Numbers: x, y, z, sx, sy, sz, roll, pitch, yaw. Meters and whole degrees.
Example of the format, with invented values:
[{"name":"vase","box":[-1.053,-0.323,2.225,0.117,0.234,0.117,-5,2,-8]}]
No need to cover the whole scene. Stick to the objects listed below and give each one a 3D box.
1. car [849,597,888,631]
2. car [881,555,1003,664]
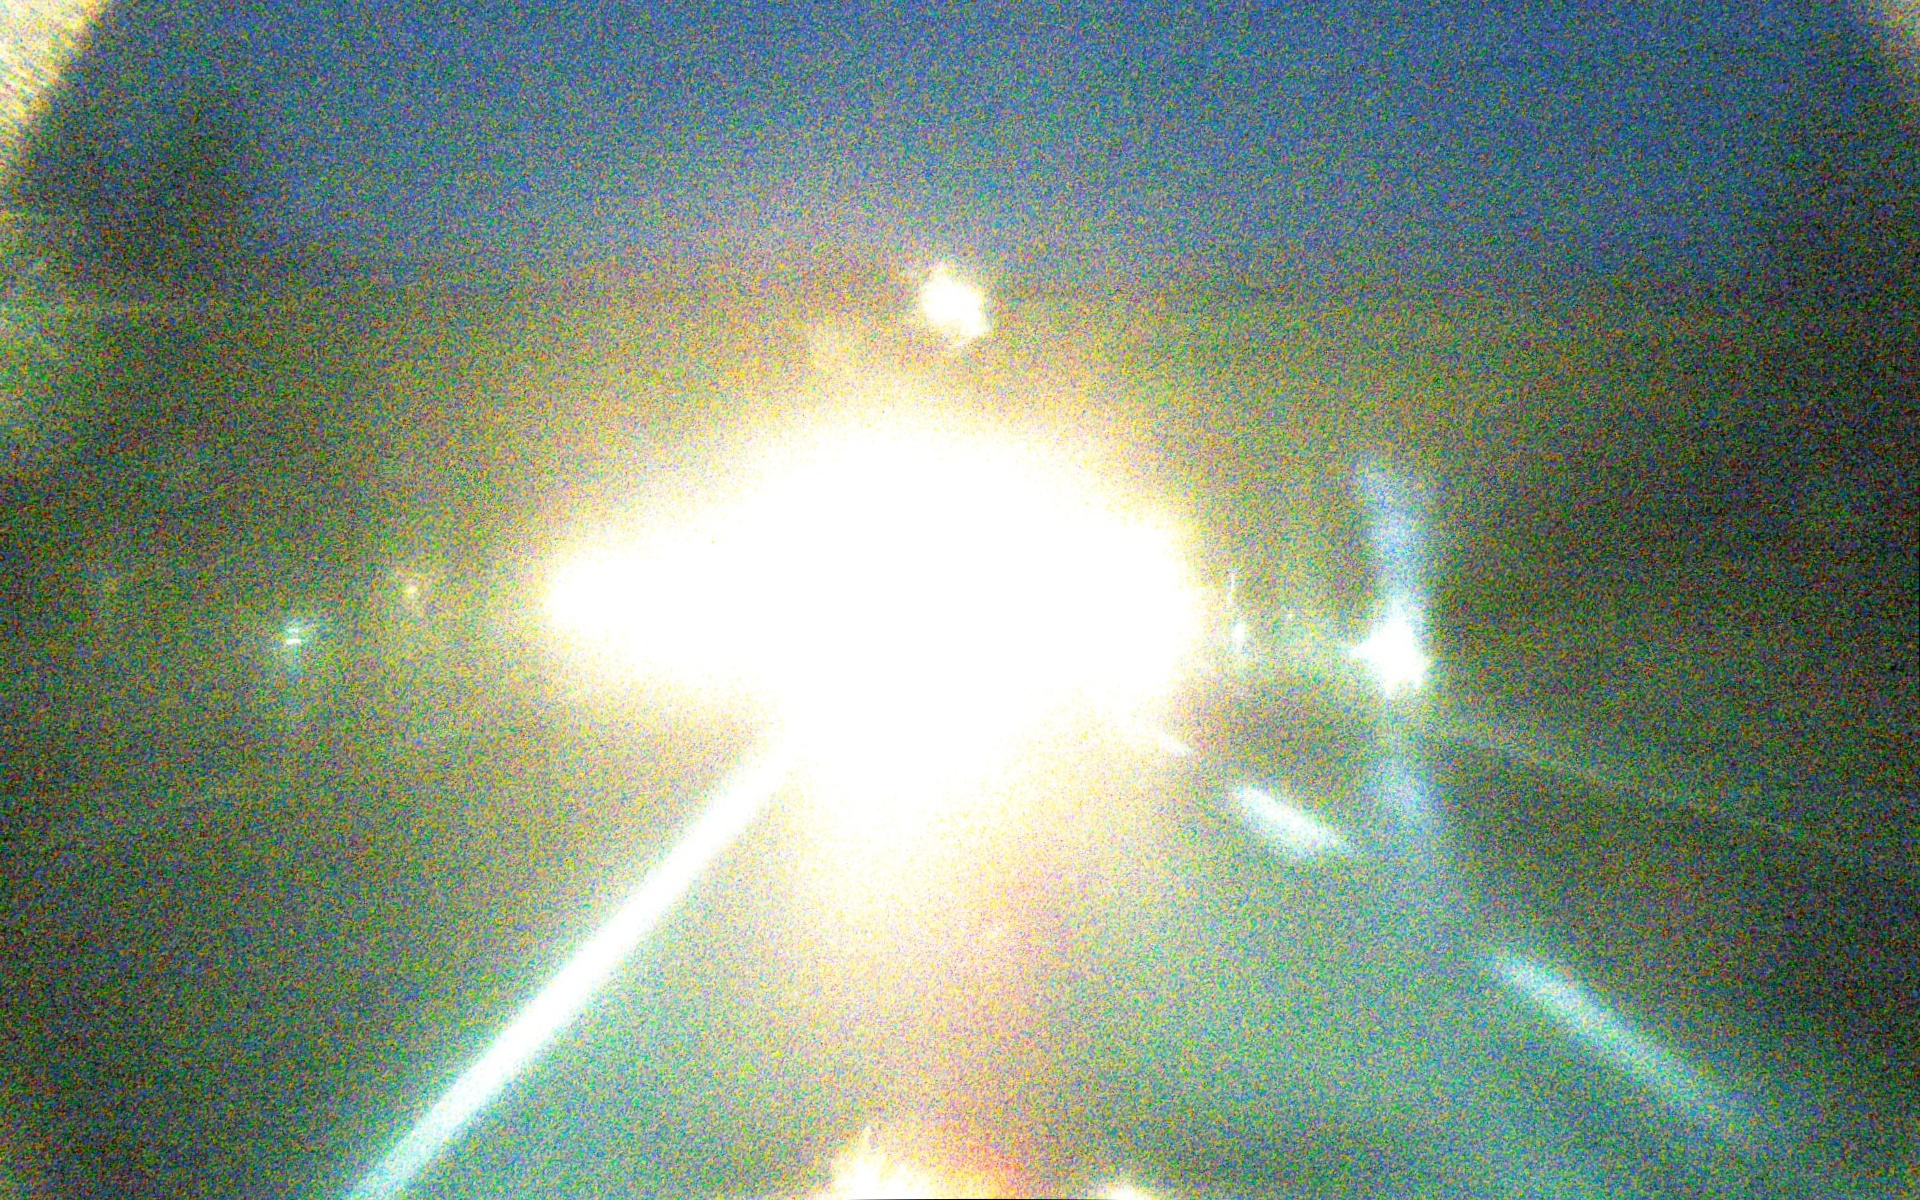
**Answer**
[{"name":"car","box":[-4.707,0.727,85.391,1.861,1.673,3.790,1,0,-2]},{"name":"car","box":[-0.368,0.145,27.399,1.773,1.650,3.997,1,0,-4]}]
